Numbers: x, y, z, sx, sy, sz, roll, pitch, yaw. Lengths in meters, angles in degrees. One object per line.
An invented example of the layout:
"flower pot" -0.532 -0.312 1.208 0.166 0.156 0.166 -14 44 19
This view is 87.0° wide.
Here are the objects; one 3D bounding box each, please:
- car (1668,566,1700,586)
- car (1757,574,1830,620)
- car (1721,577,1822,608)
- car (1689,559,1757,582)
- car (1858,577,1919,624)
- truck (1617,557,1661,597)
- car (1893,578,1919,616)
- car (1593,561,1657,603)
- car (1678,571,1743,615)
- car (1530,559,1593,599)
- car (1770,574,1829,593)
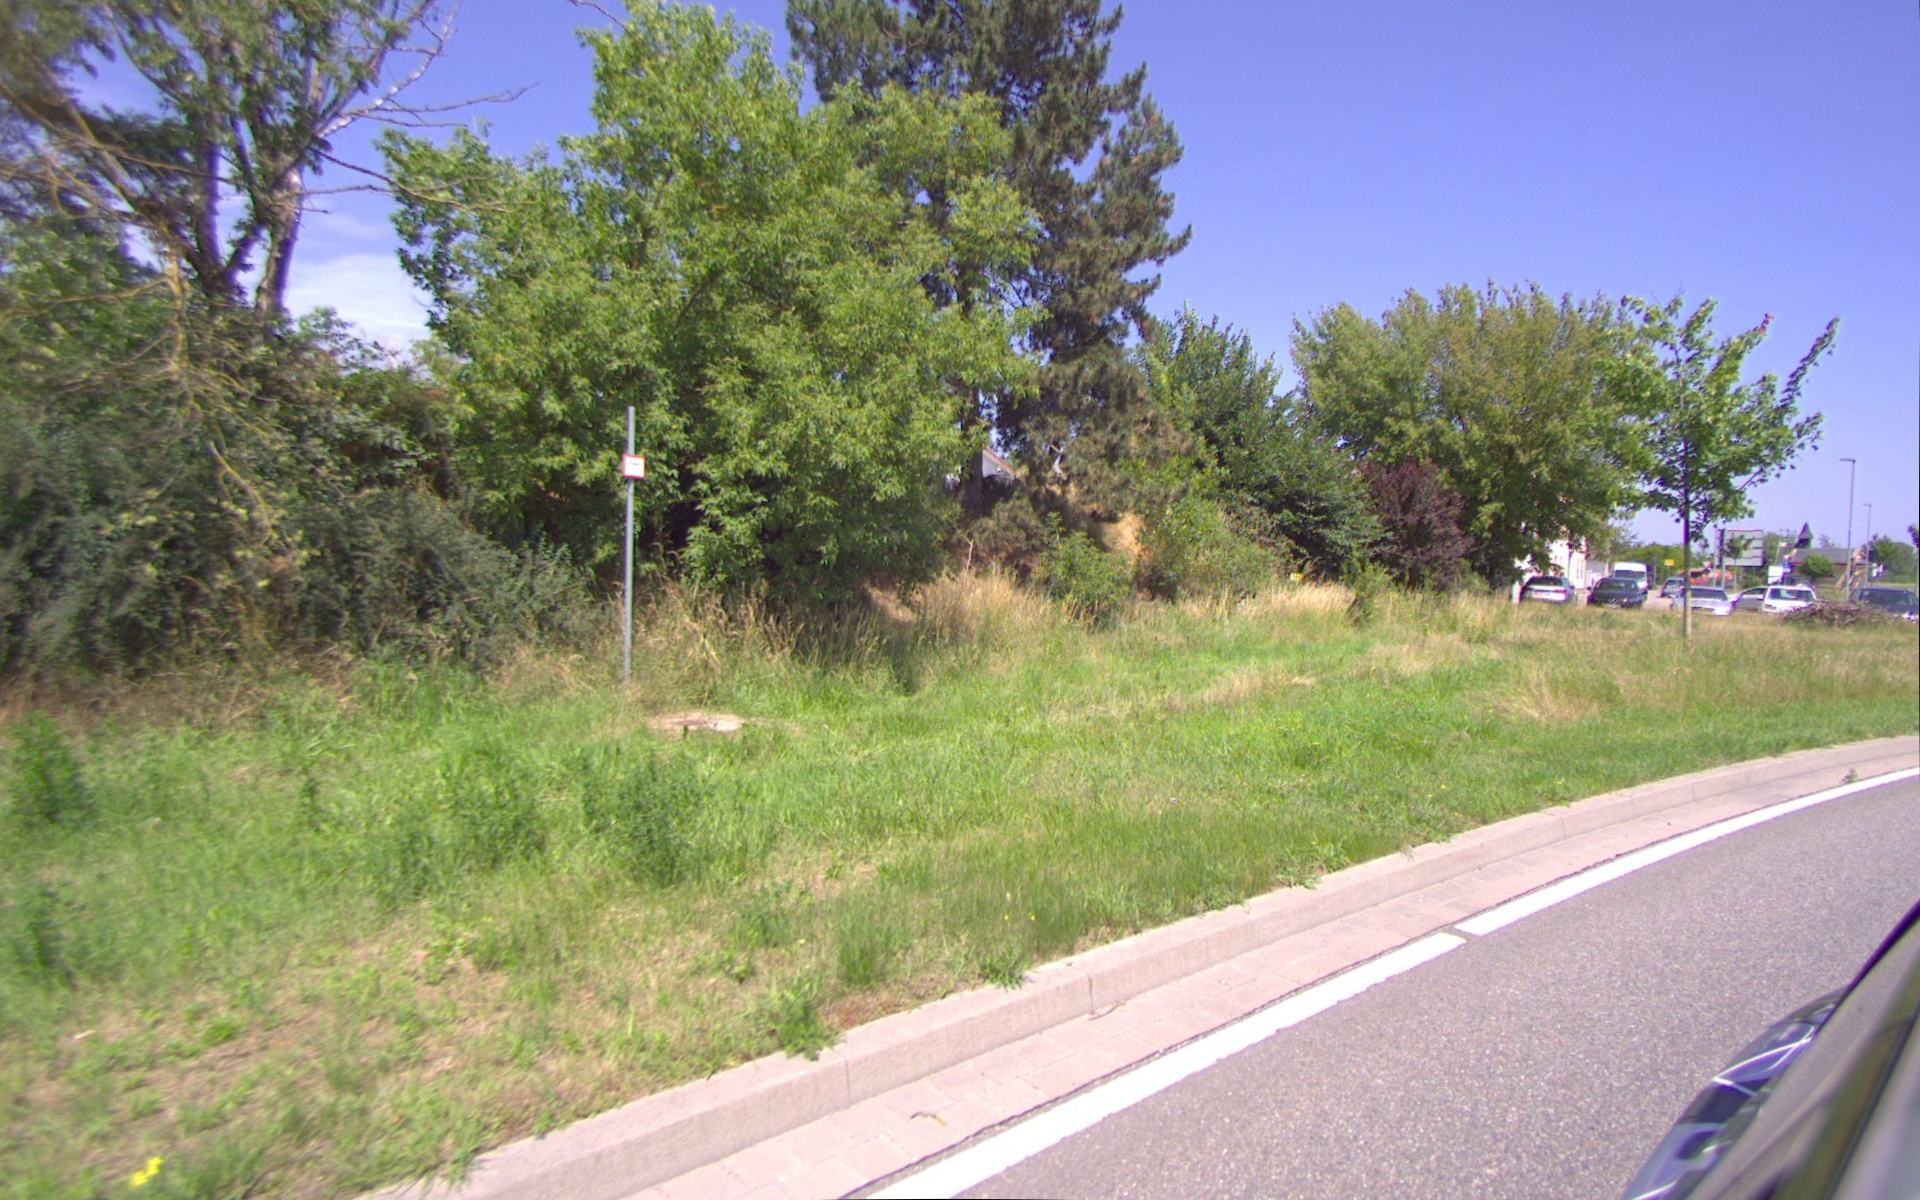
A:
"car" 56.893 -1.918 79.581 1.842 1.514 3.953 3 3 33
"car" 29.708 -0.107 36.165 1.765 1.460 3.913 3 2 37
"car" 43.027 -0.418 53.747 1.616 1.409 4.010 1 3 -11
"car" 91.812 -3.554 121.888 2.315 2.615 6.131 0 3 -40
"car" 31.619 0.044 34.005 1.765 1.460 3.913 3 2 37
"truck" 45.697 -1.589 68.090 2.224 2.536 5.565 3 3 35
"car" 50.607 -0.148 53.006 1.842 1.852 3.953 3 3 33
"car" 25.340 -0.659 38.508 1.764 1.460 3.914 3 2 37
"car" 27.137 -0.255 36.670 1.764 1.460 3.915 3 2 36
"car" 24.182 -0.806 40.643 1.764 1.460 3.914 3 2 37
"car" 76.520 -1.521 92.374 1.922 1.670 4.876 1 1 10
